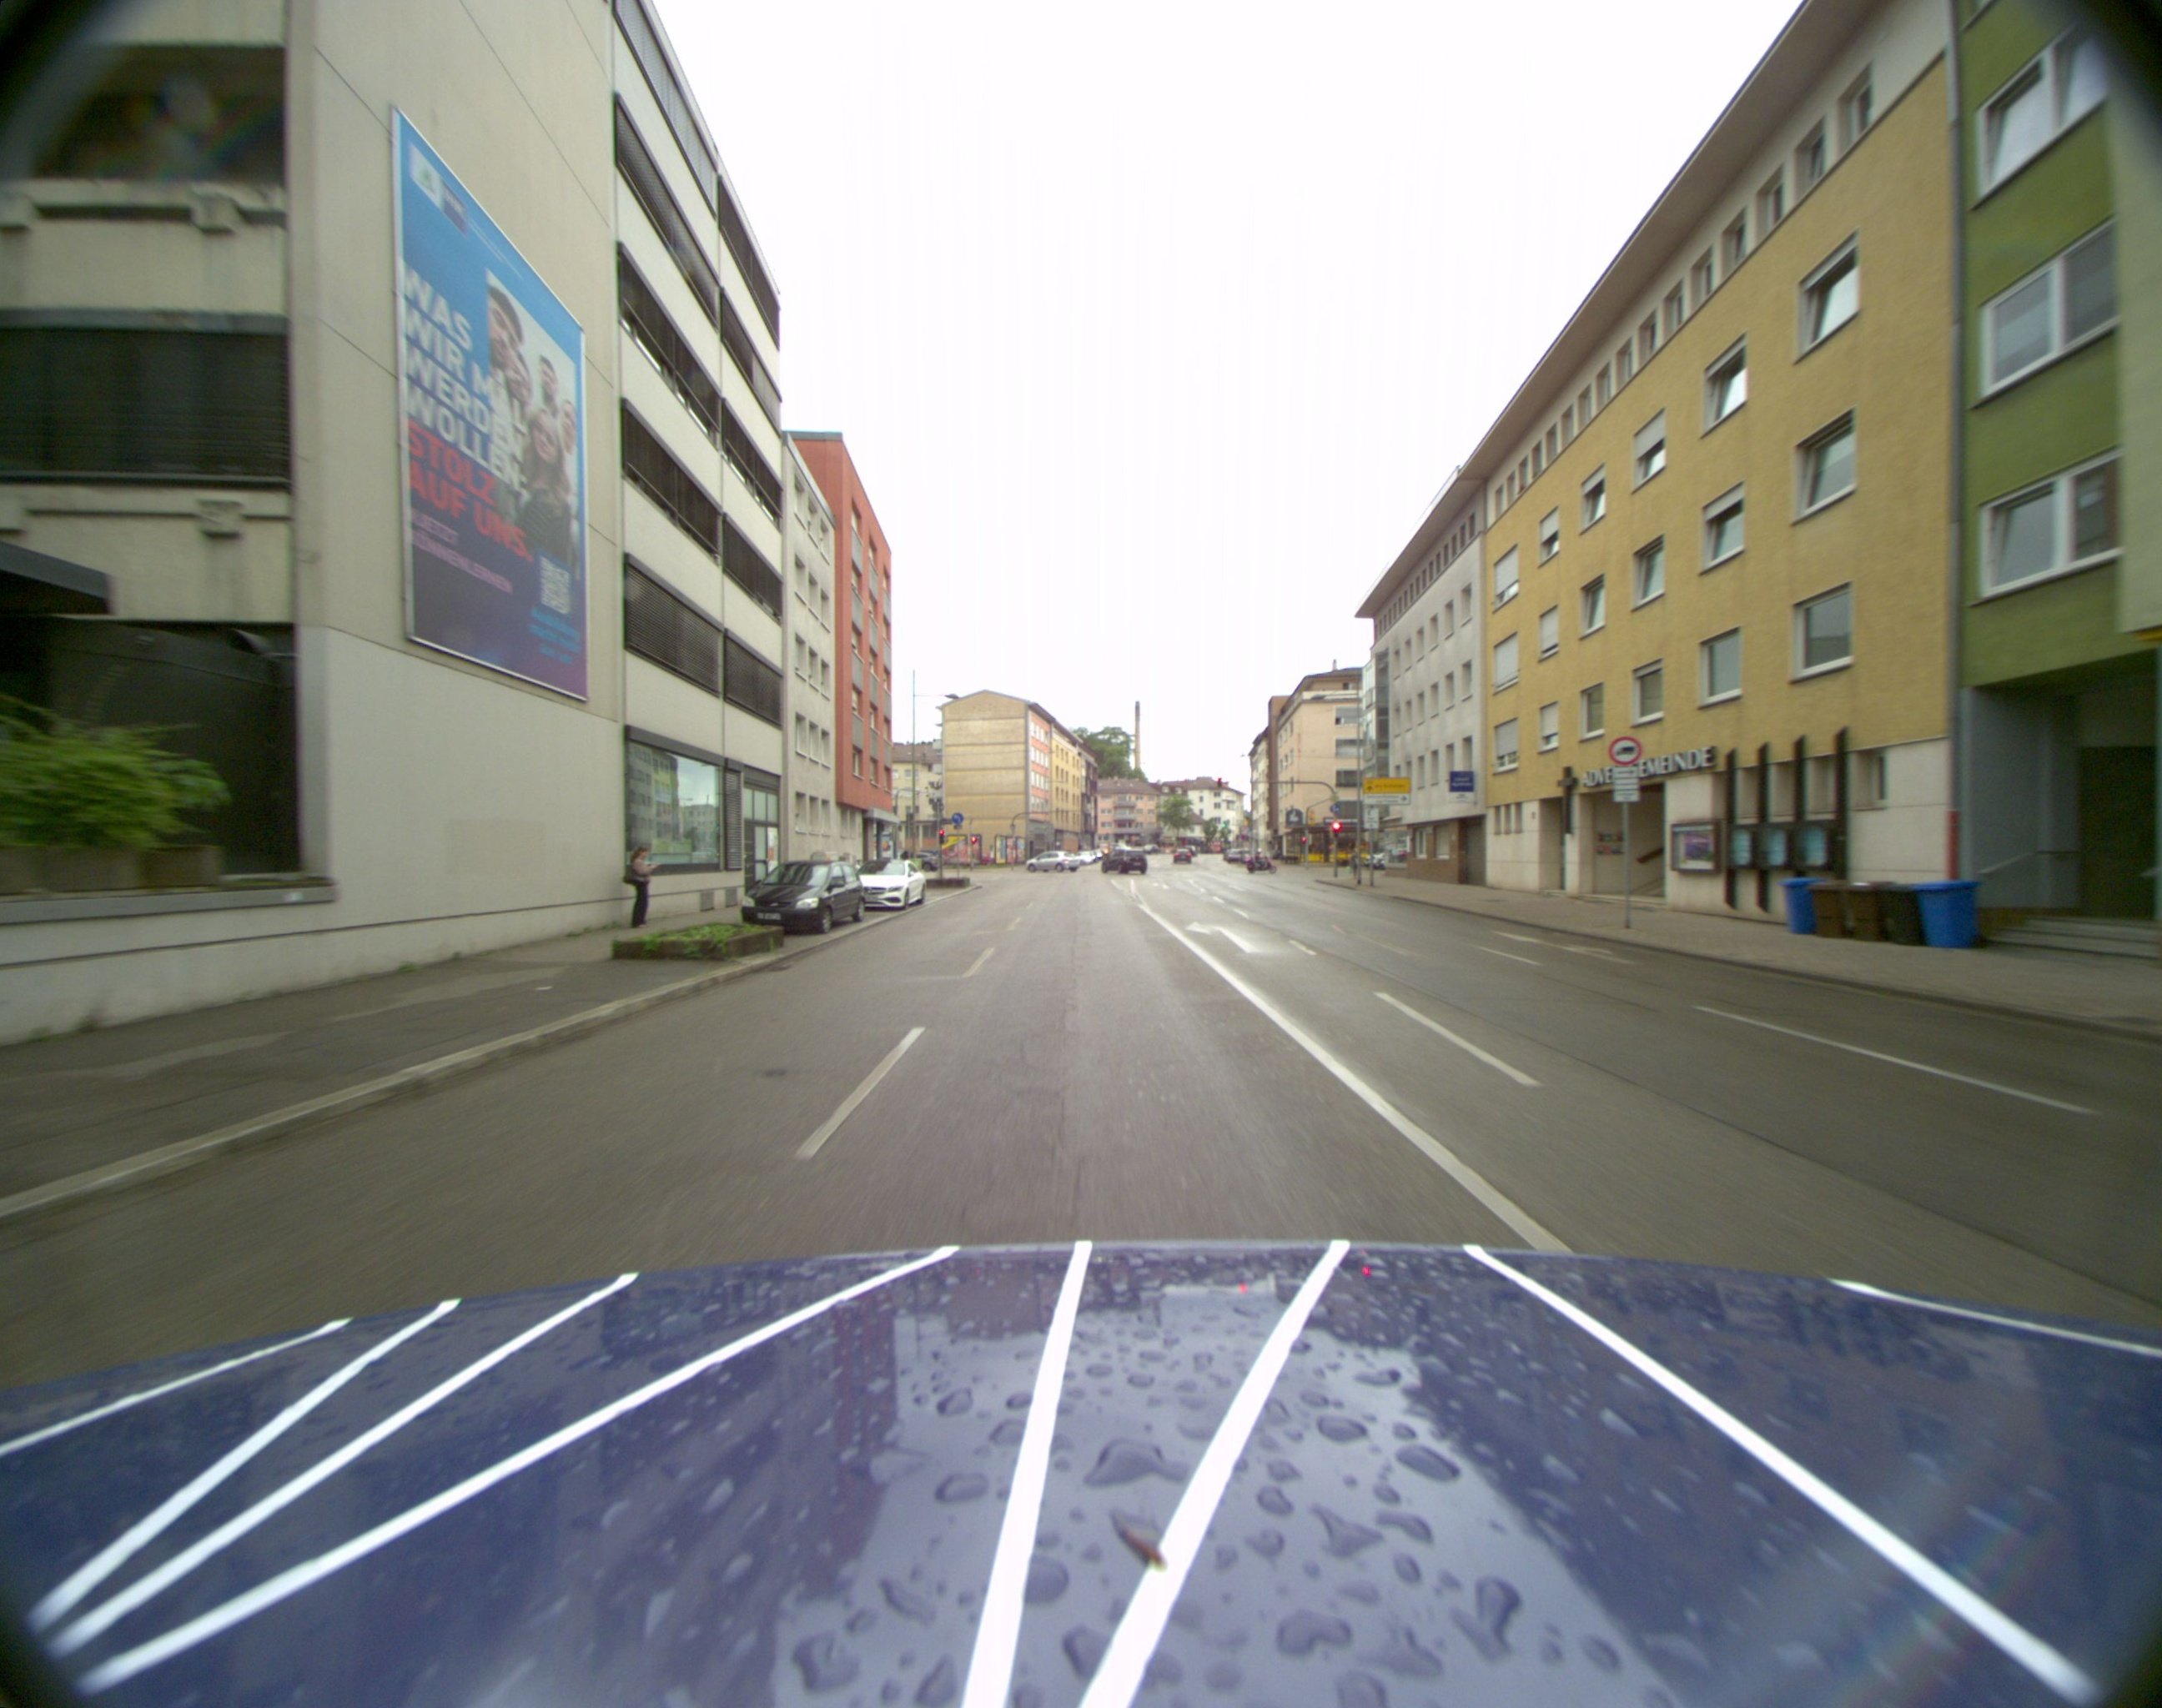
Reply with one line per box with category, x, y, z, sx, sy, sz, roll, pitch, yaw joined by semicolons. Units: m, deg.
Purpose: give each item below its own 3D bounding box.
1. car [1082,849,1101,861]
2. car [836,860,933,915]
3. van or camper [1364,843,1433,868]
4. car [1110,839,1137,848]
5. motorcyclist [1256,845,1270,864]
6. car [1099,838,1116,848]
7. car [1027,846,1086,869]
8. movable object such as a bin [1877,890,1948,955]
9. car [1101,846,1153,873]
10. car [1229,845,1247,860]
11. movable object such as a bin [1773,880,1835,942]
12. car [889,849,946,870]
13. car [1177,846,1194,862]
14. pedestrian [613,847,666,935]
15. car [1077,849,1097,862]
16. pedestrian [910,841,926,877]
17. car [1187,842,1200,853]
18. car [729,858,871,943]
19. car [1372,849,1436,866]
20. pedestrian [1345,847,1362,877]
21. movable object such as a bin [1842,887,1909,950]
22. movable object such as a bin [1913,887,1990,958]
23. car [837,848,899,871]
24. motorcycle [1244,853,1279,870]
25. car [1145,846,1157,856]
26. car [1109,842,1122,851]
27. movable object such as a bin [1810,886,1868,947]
car;1.265;0.086;89.494;1.736;1.389;3.743;0;1;8
car;-5.773;0.925;22.879;1.835;1.412;4.569;1;0;-1
van or camper;26.747;0.091;64.140;5.023;2.003;2.000;0;3;6
car;7.530;-1.891;134.815;2.038;1.522;4.894;-1;1;-40
motorcyclist;12.425;0.032;51.826;0.871;1.320;0.493;0;1;8
car;3.767;-1.512;107.562;1.736;1.389;3.745;0;1;13
car;-1.802;0.234;55.821;3.989;1.612;1.840;0;1;33
movable object such as a bin;12.439;1.016;11.374;0.529;0.890;0.435;-4;0;8
car;2.993;0.318;50.102;1.882;1.674;3.992;-1;1;-21
car;17.330;-0.162;83.836;1.834;1.612;4.003;0;1;10
movable object such as a bin;12.457;0.979;13.099;0.517;0.994;0.524;-4;0;8
car;-12.956;0.449;60.418;3.995;1.612;1.837;0;1;6
car;11.144;-0.028;80.911;1.748;1.587;4.002;0;1;8
pedestrian;-8.578;0.697;14.781;0.599;1.650;0.691;3;1;-7
car;0.694;0.171;83.346;1.736;1.389;3.743;0;1;8
pedestrian;-9.828;0.268;45.728;0.806;2.141;0.737;-1;1;-23
car;17.020;-0.971;114.653;1.591;1.518;3.491;0;1;14
car;-5.882;0.900;16.371;1.706;1.549;3.804;1;1;-1
car;24.752;0.243;58.329;4.094;1.282;1.842;0;1;2
pedestrian;14.724;0.450;41.088;0.785;1.578;0.674;-2;0;21
movable object such as a bin;12.419;0.999;11.884;0.529;0.922;0.426;-4;0;8
movable object such as a bin;12.468;0.973;10.895;0.529;0.955;0.435;-4;0;8
car;-15.796;0.402;56.490;3.996;1.612;1.837;0;1;4
motorcycle;12.287;0.505;51.886;2.290;1.157;0.775;0;1;10
car;12.141;-0.515;131.662;1.670;1.761;4.003;0;1;11
car;5.377;-1.114;118.793;1.736;1.389;3.743;0;1;8
movable object such as a bin;12.345;1.008;12.387;0.465;0.922;0.428;-4;0;8
